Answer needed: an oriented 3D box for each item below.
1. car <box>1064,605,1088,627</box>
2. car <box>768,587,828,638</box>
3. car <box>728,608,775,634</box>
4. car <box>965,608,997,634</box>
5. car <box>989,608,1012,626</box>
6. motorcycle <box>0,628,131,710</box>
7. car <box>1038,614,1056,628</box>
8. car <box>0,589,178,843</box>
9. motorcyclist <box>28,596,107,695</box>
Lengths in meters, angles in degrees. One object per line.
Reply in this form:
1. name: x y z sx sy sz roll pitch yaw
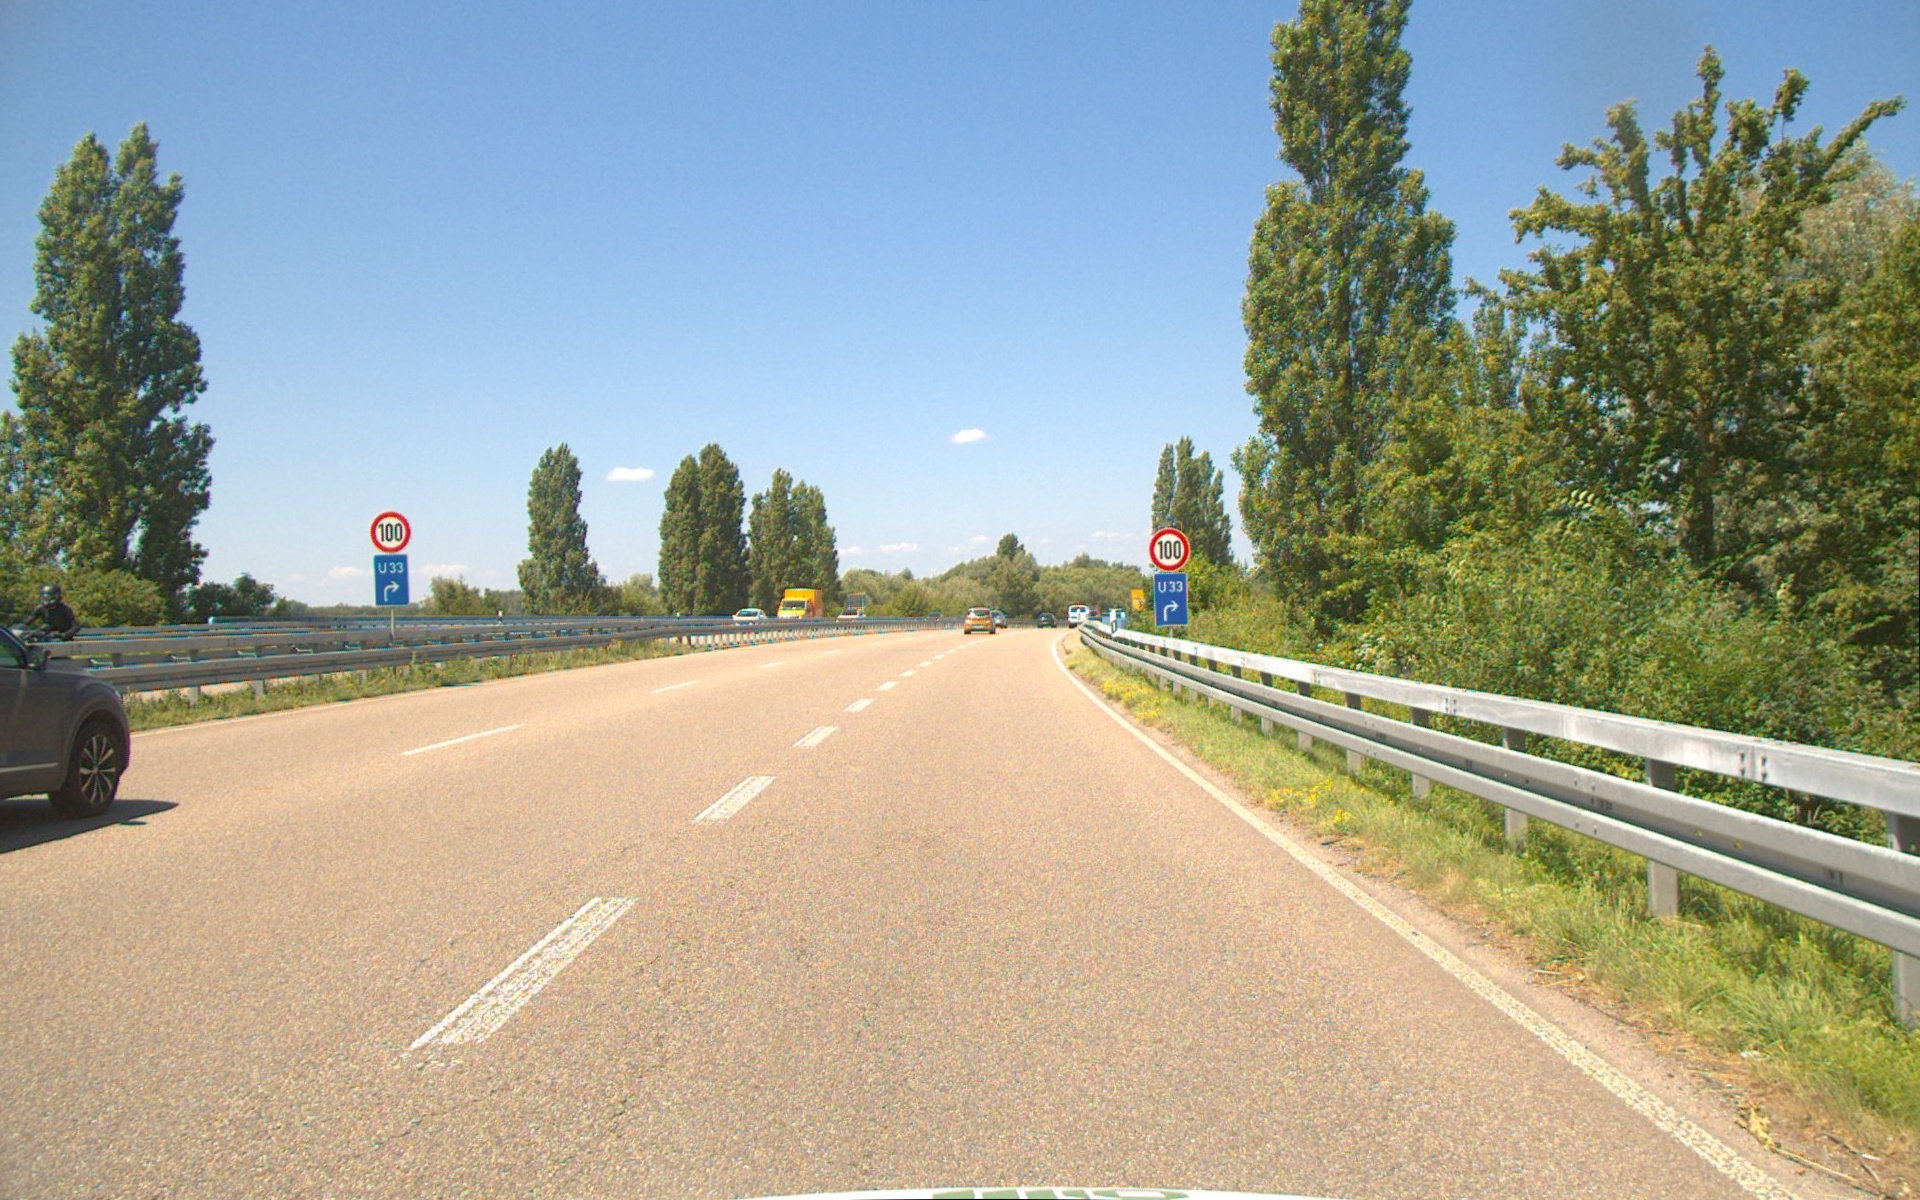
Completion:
1. car: 10.274 1.411 146.518 1.802 1.928 4.003 0 0 8
2. car: -11.109 0.847 114.194 2.256 3.349 7.034 -1 -1 10
3. car: -12.622 1.265 100.362 1.813 1.457 4.798 -1 -1 5
4. car: 1.216 1.197 95.830 1.803 1.489 4.001 0 0 1
5. car: 3.445 1.401 140.337 1.802 1.476 4.002 0 0 4
6. motorcycle: -13.510 1.021 24.919 0.775 1.164 2.528 -1 -1 0
7. car: 9.888 2.375 187.719 1.902 1.489 4.003 0 0 6
8. car: -6.790 0.709 10.126 1.803 1.556 4.470 0 0 1
9. motorcyclist: -13.507 0.689 25.041 0.775 1.459 0.767 -1 -2 -1
